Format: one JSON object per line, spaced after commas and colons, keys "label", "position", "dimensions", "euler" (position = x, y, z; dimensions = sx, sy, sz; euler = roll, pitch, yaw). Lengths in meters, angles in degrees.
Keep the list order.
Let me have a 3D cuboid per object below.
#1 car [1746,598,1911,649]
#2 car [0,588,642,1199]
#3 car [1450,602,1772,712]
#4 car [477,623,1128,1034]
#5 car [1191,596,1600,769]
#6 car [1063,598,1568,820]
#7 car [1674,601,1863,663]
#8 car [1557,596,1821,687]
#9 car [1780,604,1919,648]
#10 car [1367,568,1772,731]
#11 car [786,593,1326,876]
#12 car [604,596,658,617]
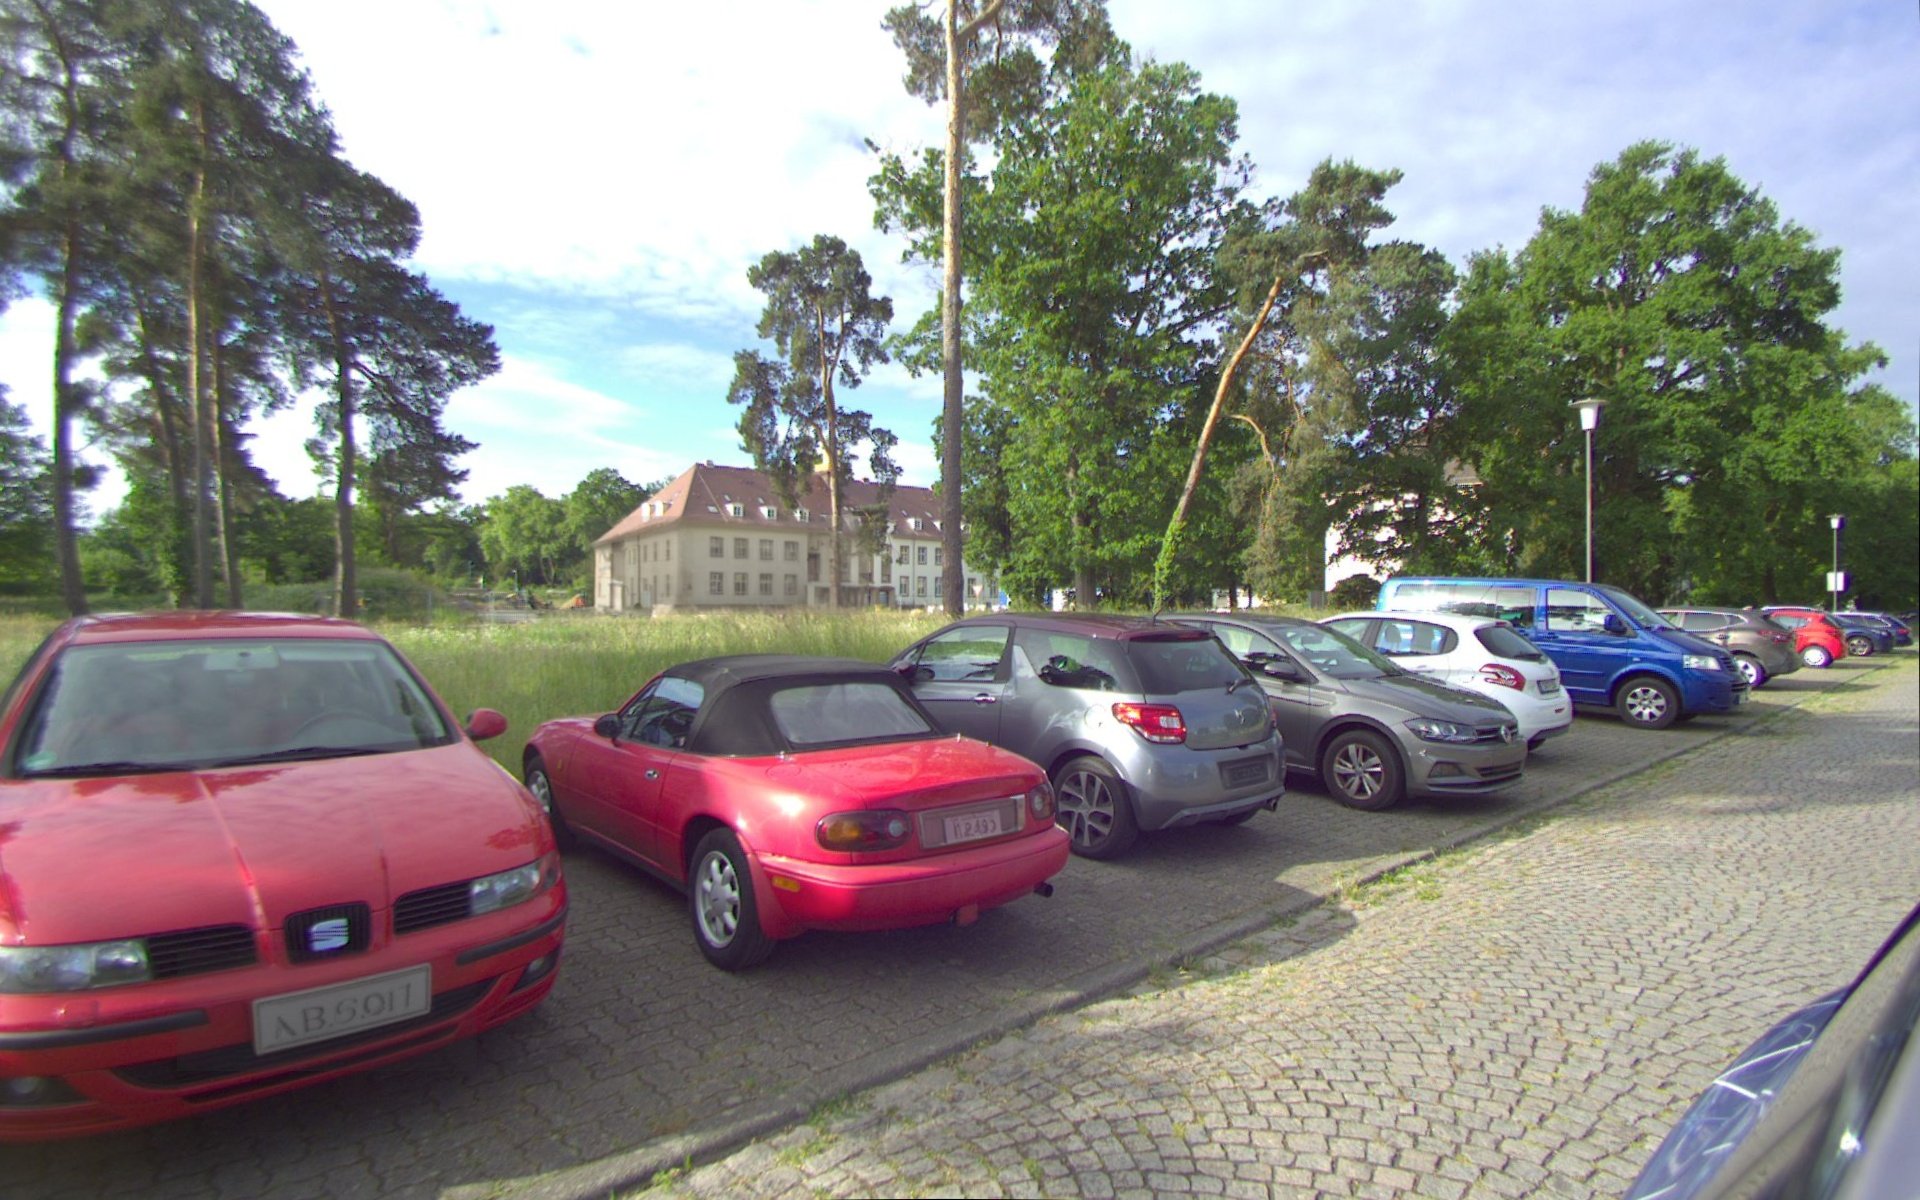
{"label": "car", "position": [29.738, 0.761, 34.740], "dimensions": [1.717, 1.589, 4.130], "euler": [-1, 1, -43]}
{"label": "car", "position": [-3.121, 0.709, 4.298], "dimensions": [1.710, 1.492, 4.346], "euler": [-1, 1, -43]}
{"label": "car", "position": [10.520, 0.818, 16.563], "dimensions": [4.191, 1.488, 1.779], "euler": [1, 1, 44]}
{"label": "car", "position": [-1.162, 0.853, 5.616], "dimensions": [1.697, 1.276, 3.956], "euler": [-1, 1, -42]}
{"label": "car", "position": [4.743, 0.756, 11.426], "dimensions": [1.777, 1.549, 3.880], "euler": [-1, 1, -42]}
{"label": "car", "position": [3.005, 0.760, 9.160], "dimensions": [1.799, 1.486, 3.956], "euler": [-1, 1, -42]}
{"label": "car", "position": [22.252, 0.819, 27.944], "dimensions": [1.659, 1.491, 3.881], "euler": [-1, 2, -43]}
{"label": "car", "position": [14.974, 0.762, 20.953], "dimensions": [1.847, 1.609, 4.194], "euler": [-1, 1, -43]}
{"label": "car", "position": [33.290, 0.923, 37.696], "dimensions": [1.752, 1.469, 4.033], "euler": [0, 1, -40]}
{"label": "car", "position": [8.734, 0.551, 14.859], "dimensions": [1.959, 1.952, 4.738], "euler": [0, 2, -43]}
{"label": "car", "position": [0.491, 0.730, 7.656], "dimensions": [1.742, 1.514, 3.956], "euler": [-1, 1, -42]}
{"label": "car", "position": [-32.588, 0.642, 100.101], "dimensions": [5.640, 2.039, 2.595], "euler": [0, 0, 41]}
